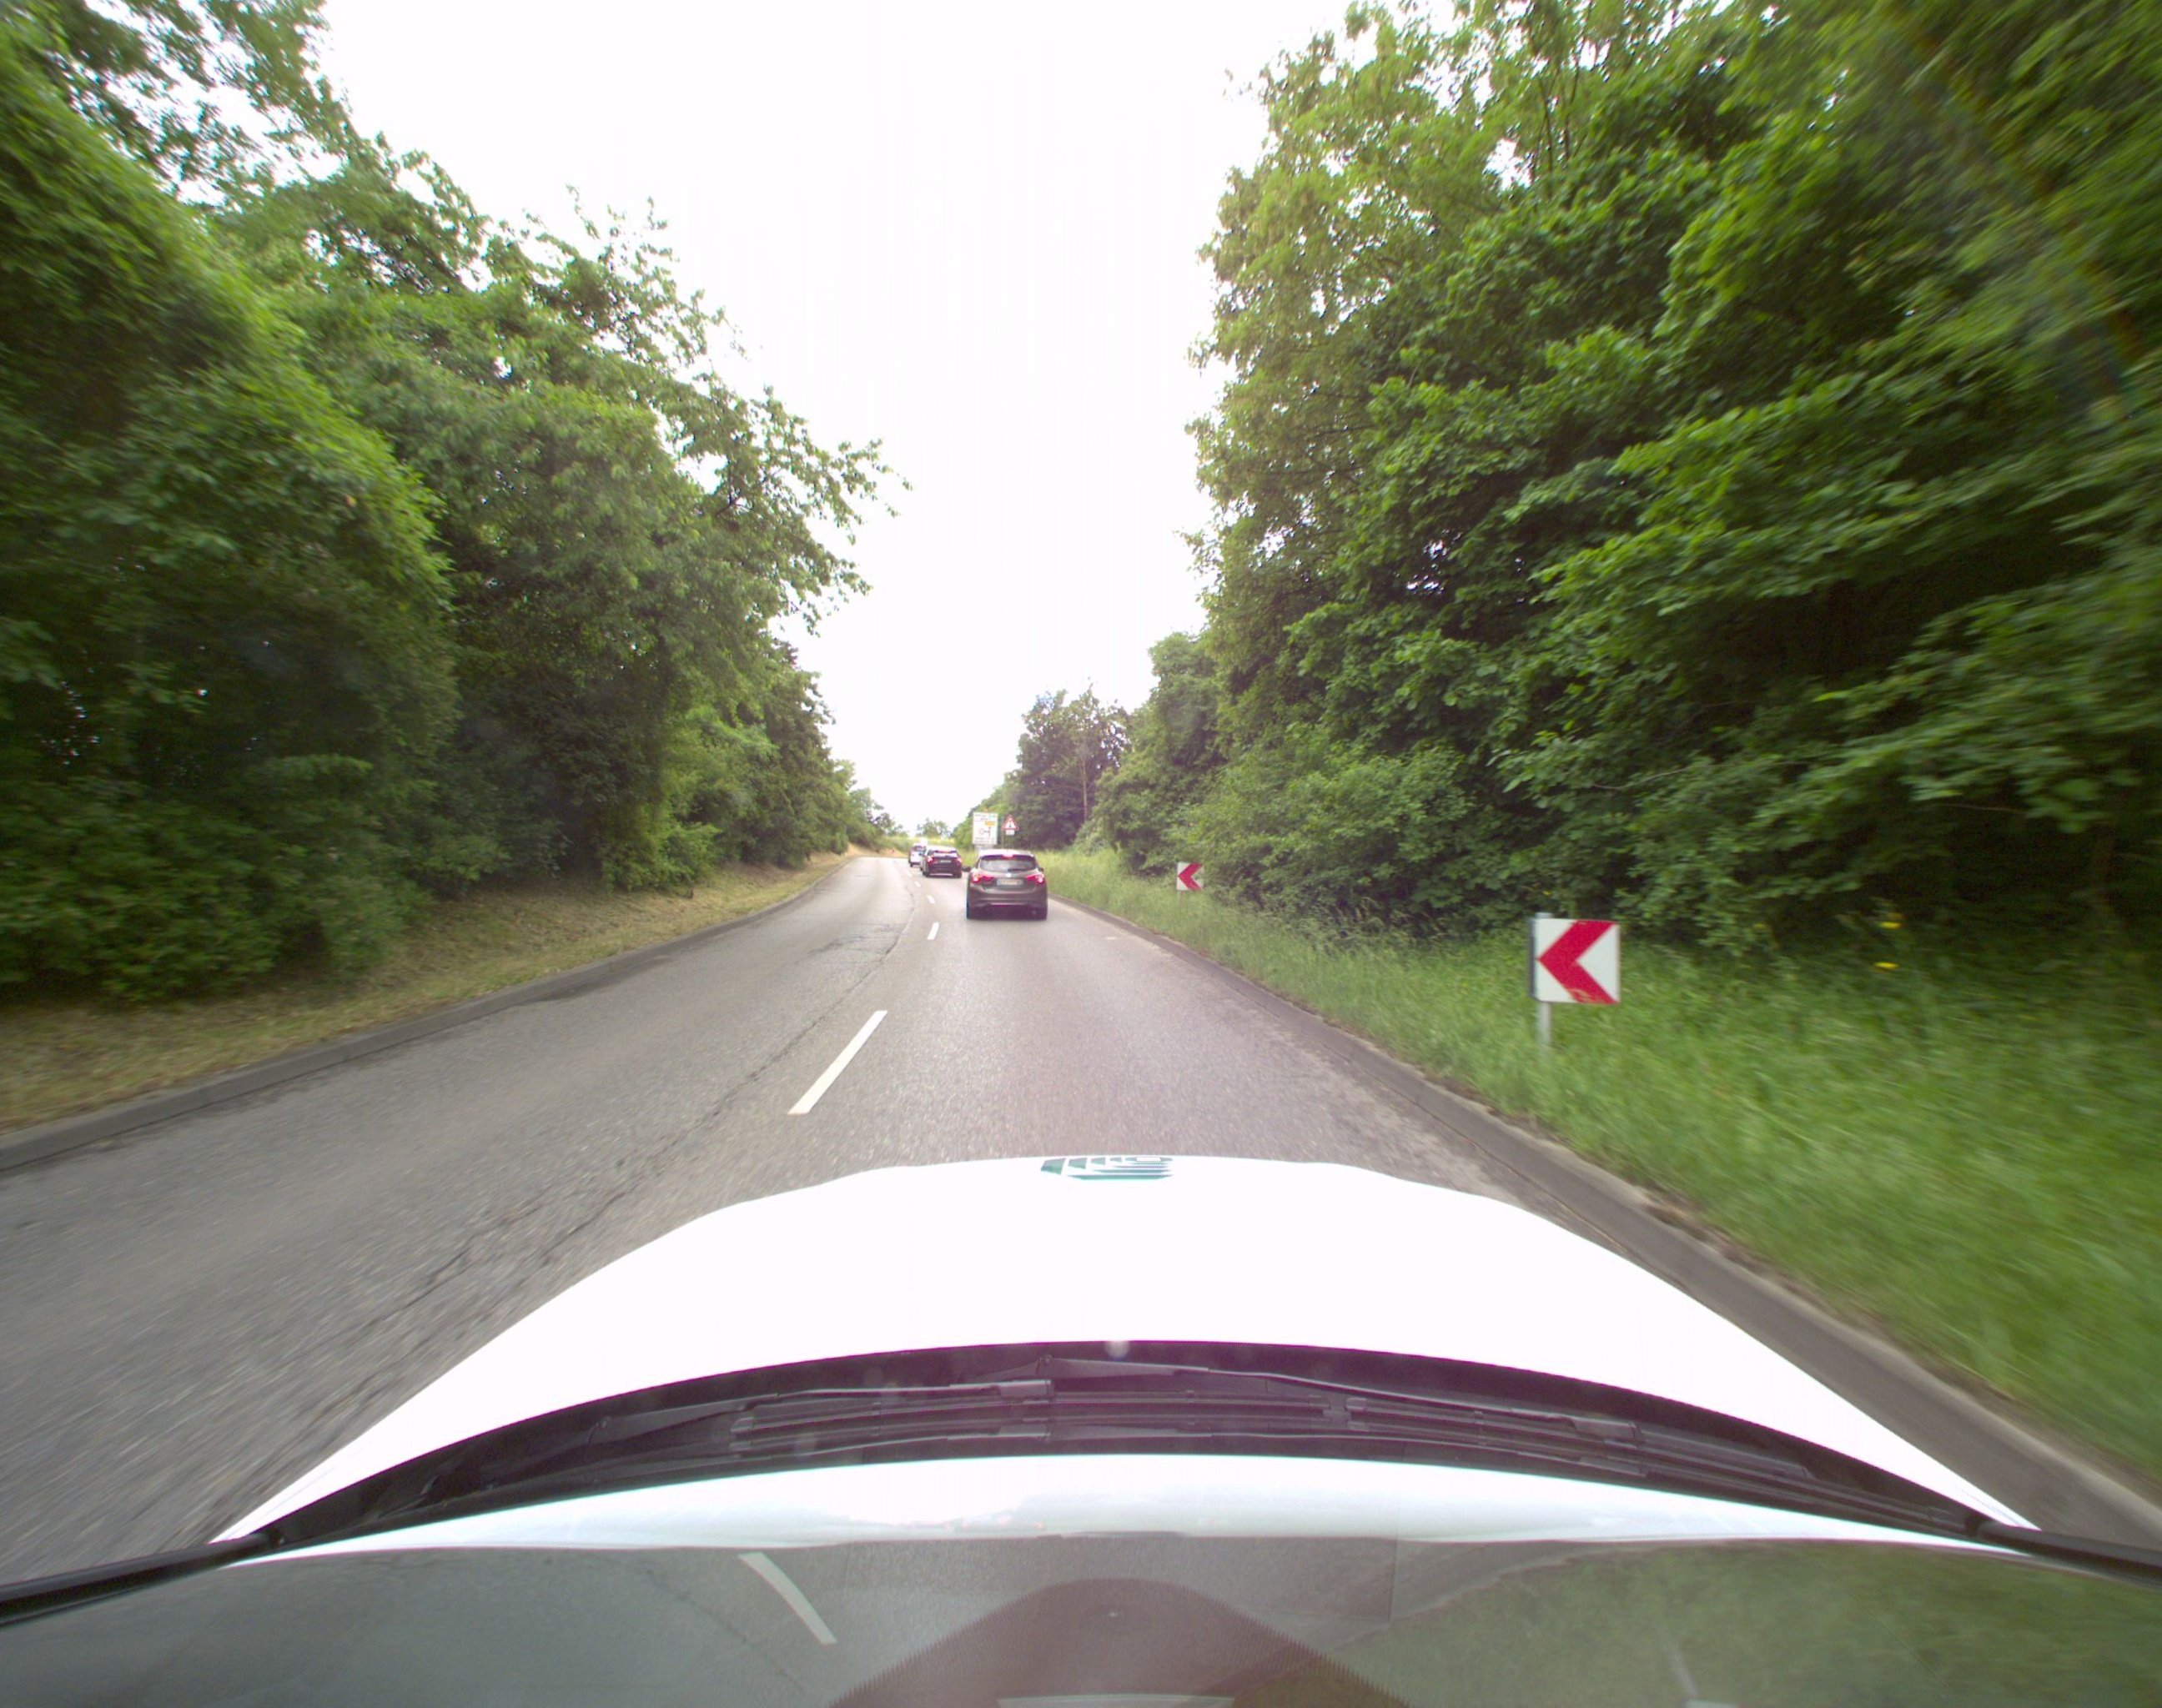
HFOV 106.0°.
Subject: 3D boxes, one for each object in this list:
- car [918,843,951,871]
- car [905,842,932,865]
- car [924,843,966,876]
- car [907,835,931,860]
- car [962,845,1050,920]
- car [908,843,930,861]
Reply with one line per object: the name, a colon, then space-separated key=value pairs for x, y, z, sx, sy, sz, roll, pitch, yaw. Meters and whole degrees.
car: x=-8.703 y=0.139 z=48.208 sx=1.738 sy=1.556 sz=3.528 roll=0 pitch=1 yaw=-13
car: x=-11.314 y=-0.053 z=56.621 sx=1.738 sy=1.556 sz=3.528 roll=0 pitch=1 yaw=-13
car: x=-6.787 y=0.248 z=40.284 sx=1.832 sy=1.556 sz=3.608 roll=0 pitch=1 yaw=-13
car: x=-12.778 y=-0.503 z=64.003 sx=1.738 sy=1.934 sz=3.528 roll=0 pitch=1 yaw=-13
car: x=-1.825 y=0.568 z=18.889 sx=1.830 sy=1.556 sz=3.488 roll=0 pitch=1 yaw=-9
car: x=-13.810 y=-0.186 z=69.371 sx=1.737 sy=1.526 sz=3.529 roll=0 pitch=1 yaw=-12
